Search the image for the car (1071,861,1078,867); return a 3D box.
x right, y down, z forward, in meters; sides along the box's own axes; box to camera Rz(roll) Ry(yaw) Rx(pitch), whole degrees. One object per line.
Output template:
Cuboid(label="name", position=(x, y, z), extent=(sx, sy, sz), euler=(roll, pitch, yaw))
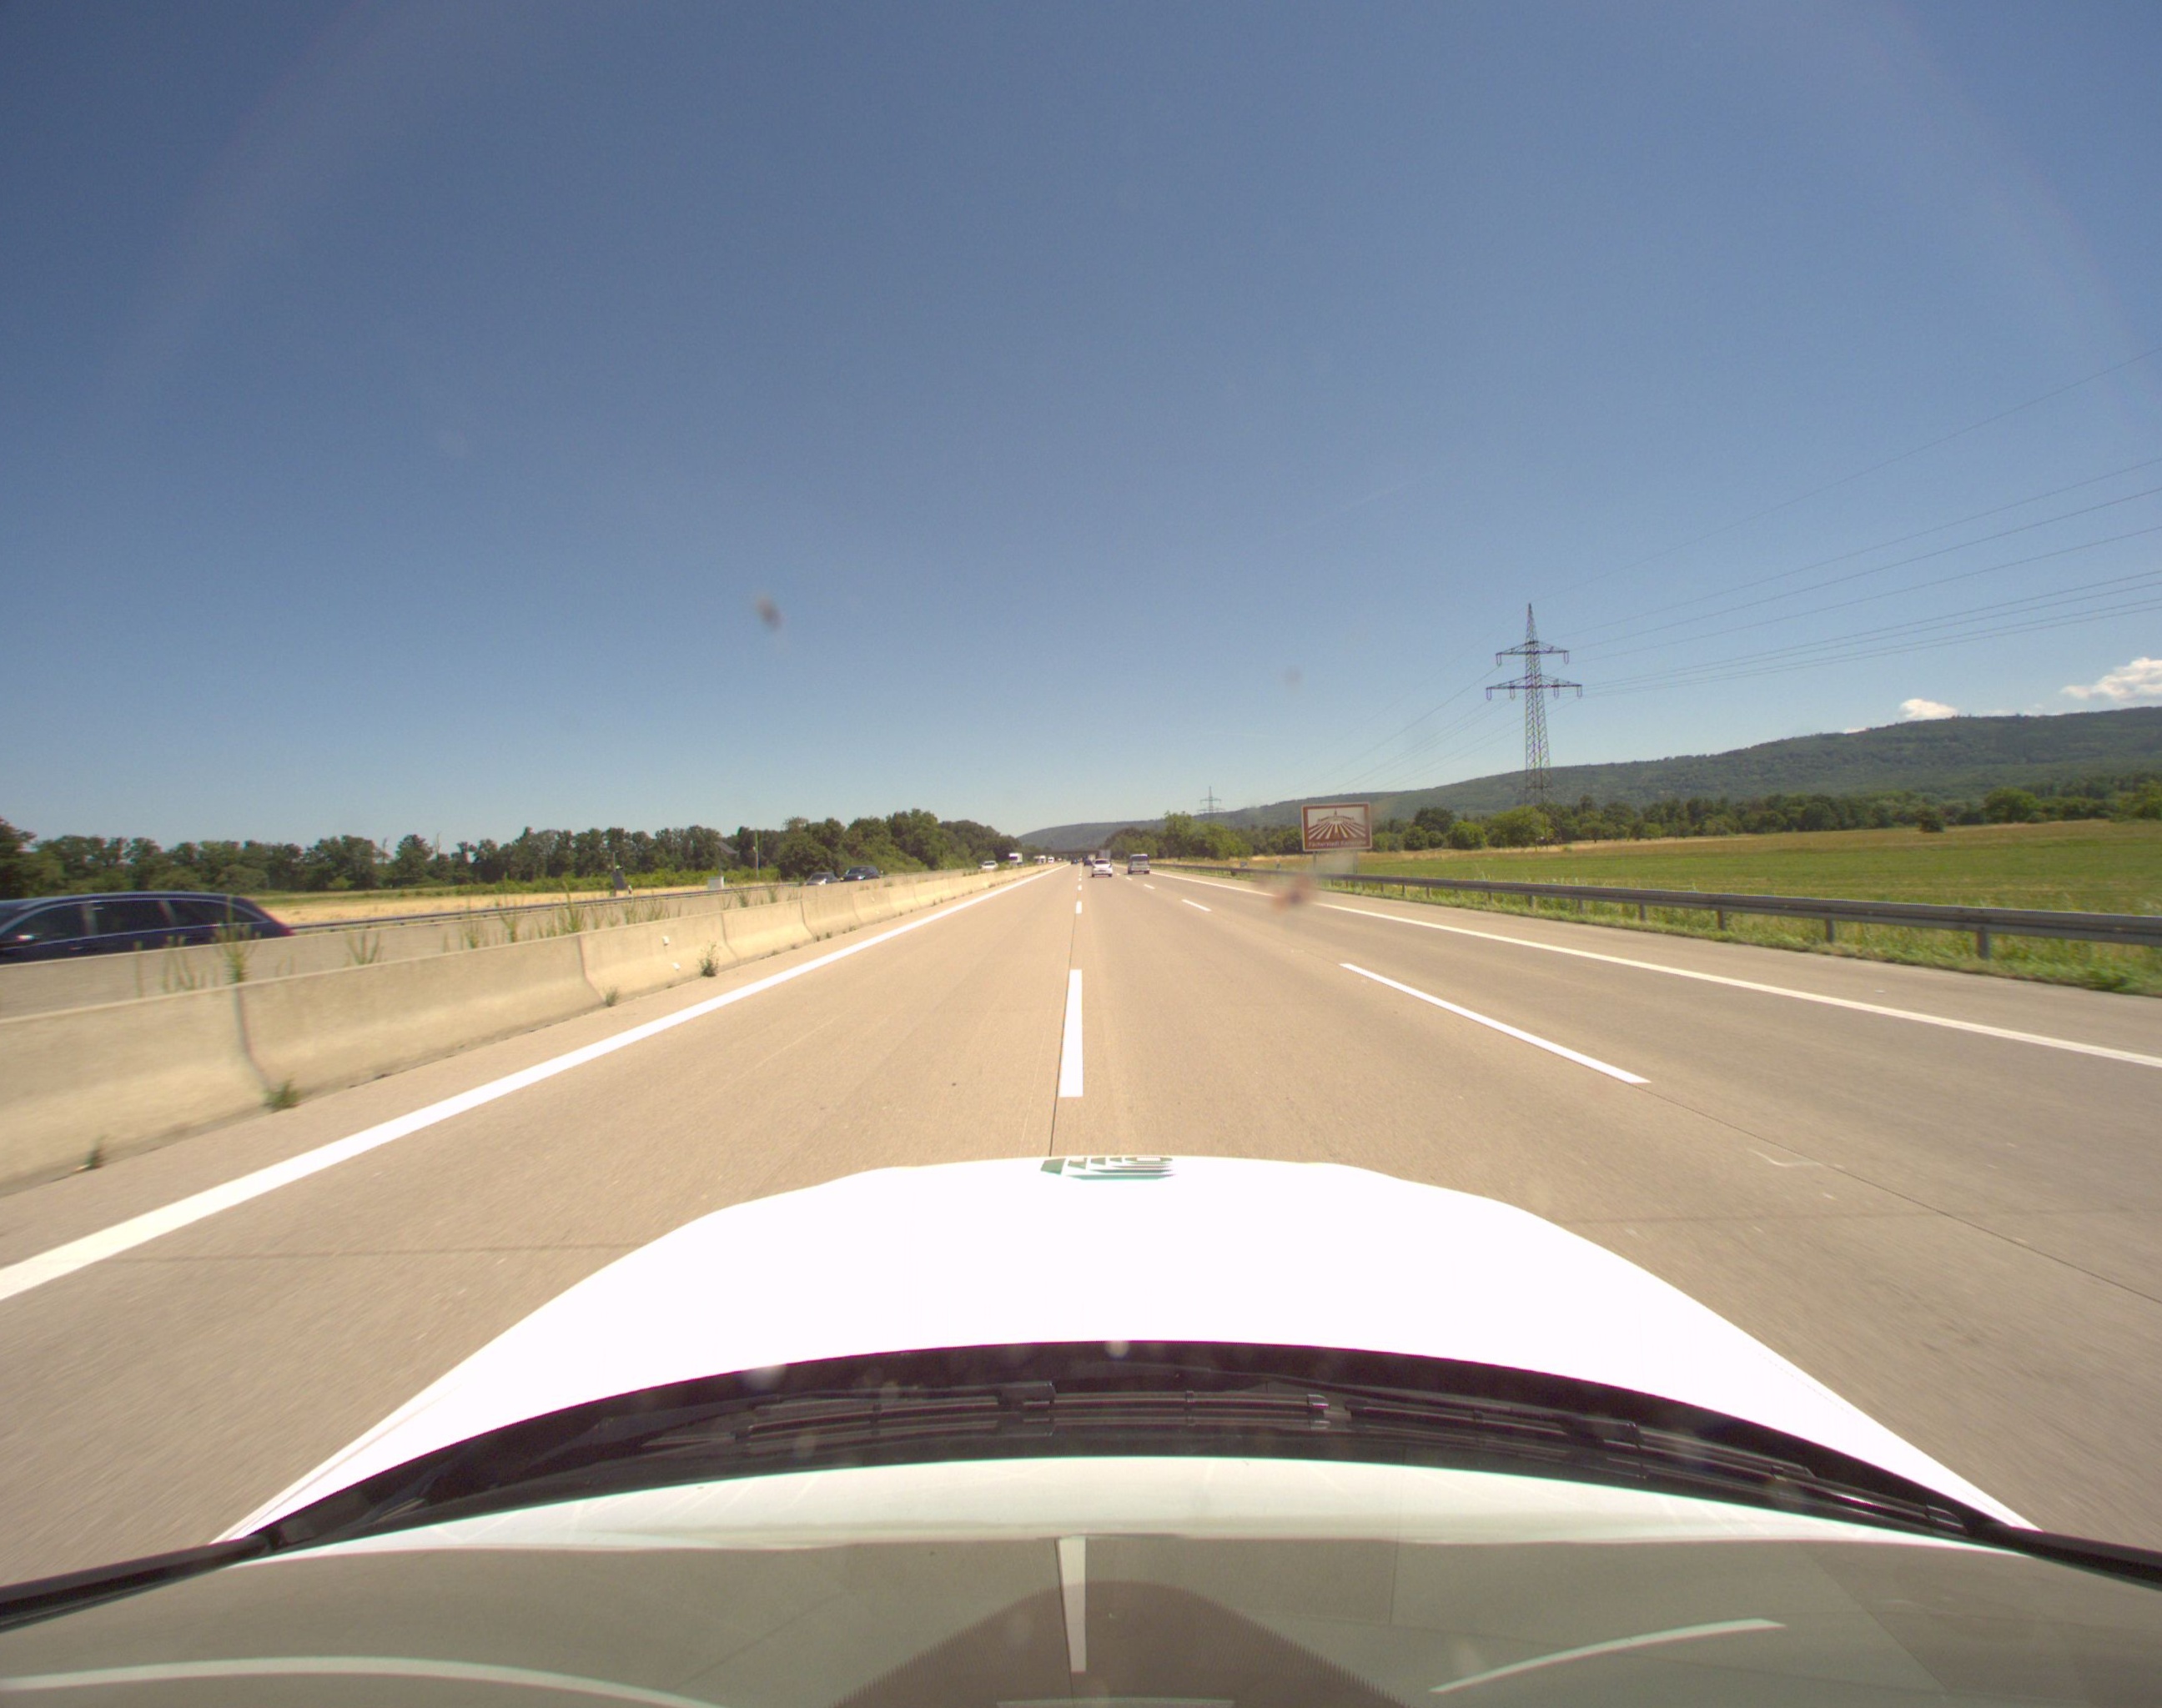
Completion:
Cuboid(label="car", position=(-1.833, 2.882, 239.595), extent=(1.923, 1.794, 3.999), euler=(-1, 0, -1))

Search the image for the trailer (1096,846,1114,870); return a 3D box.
Cuboid(label="trailer", position=(5.971, 0.932, 204.939), extent=(3.711, 5.811, 12.154), euler=(-1, 0, -1))

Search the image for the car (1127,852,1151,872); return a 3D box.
Cuboid(label="car", position=(5.629, 0.763, 79.087), extent=(1.987, 1.849, 3.999), euler=(0, 0, -1))

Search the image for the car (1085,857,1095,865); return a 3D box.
Cuboid(label="car", position=(1.904, 1.534, 177.149), extent=(1.988, 1.849, 3.998), euler=(1, 0, -1))

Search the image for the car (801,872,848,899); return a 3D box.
Cuboid(label="car", position=(-18.665, 2.281, 59.443), extent=(1.985, 1.783, 4.003), euler=(-1, 0, 3))

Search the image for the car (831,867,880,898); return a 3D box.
Cuboid(label="car", position=(-15.306, 1.898, 55.557), extent=(1.986, 1.915, 4.403), euler=(-1, 0, 2))

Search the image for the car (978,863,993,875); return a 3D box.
Cuboid(label="car", position=(-15.300, 2.451, 131.167), extent=(1.989, 1.838, 4.812), euler=(-1, 0, -2))

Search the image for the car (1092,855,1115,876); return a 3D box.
Cuboid(label="car", position=(1.861, 0.953, 69.376), extent=(1.814, 1.662, 3.999), euler=(-1, 0, -1))

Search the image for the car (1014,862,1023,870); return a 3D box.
Cuboid(label="car", position=(-15.239, 2.814, 198.199), extent=(1.988, 1.849, 3.997), euler=(1, 0, -2))

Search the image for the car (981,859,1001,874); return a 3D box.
Cuboid(label="car", position=(-10.998, 1.517, 99.624), extent=(1.899, 1.860, 4.001), euler=(-1, 0, 1))

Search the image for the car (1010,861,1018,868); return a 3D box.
Cuboid(label="car", position=(-18.776, 2.939, 227.048), extent=(1.988, 1.849, 3.997), euler=(1, 0, -2))

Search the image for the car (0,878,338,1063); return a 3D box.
Cuboid(label="car", position=(-10.965, 1.135, 8.567), extent=(1.986, 1.618, 4.590), euler=(-1, 0, 2))
